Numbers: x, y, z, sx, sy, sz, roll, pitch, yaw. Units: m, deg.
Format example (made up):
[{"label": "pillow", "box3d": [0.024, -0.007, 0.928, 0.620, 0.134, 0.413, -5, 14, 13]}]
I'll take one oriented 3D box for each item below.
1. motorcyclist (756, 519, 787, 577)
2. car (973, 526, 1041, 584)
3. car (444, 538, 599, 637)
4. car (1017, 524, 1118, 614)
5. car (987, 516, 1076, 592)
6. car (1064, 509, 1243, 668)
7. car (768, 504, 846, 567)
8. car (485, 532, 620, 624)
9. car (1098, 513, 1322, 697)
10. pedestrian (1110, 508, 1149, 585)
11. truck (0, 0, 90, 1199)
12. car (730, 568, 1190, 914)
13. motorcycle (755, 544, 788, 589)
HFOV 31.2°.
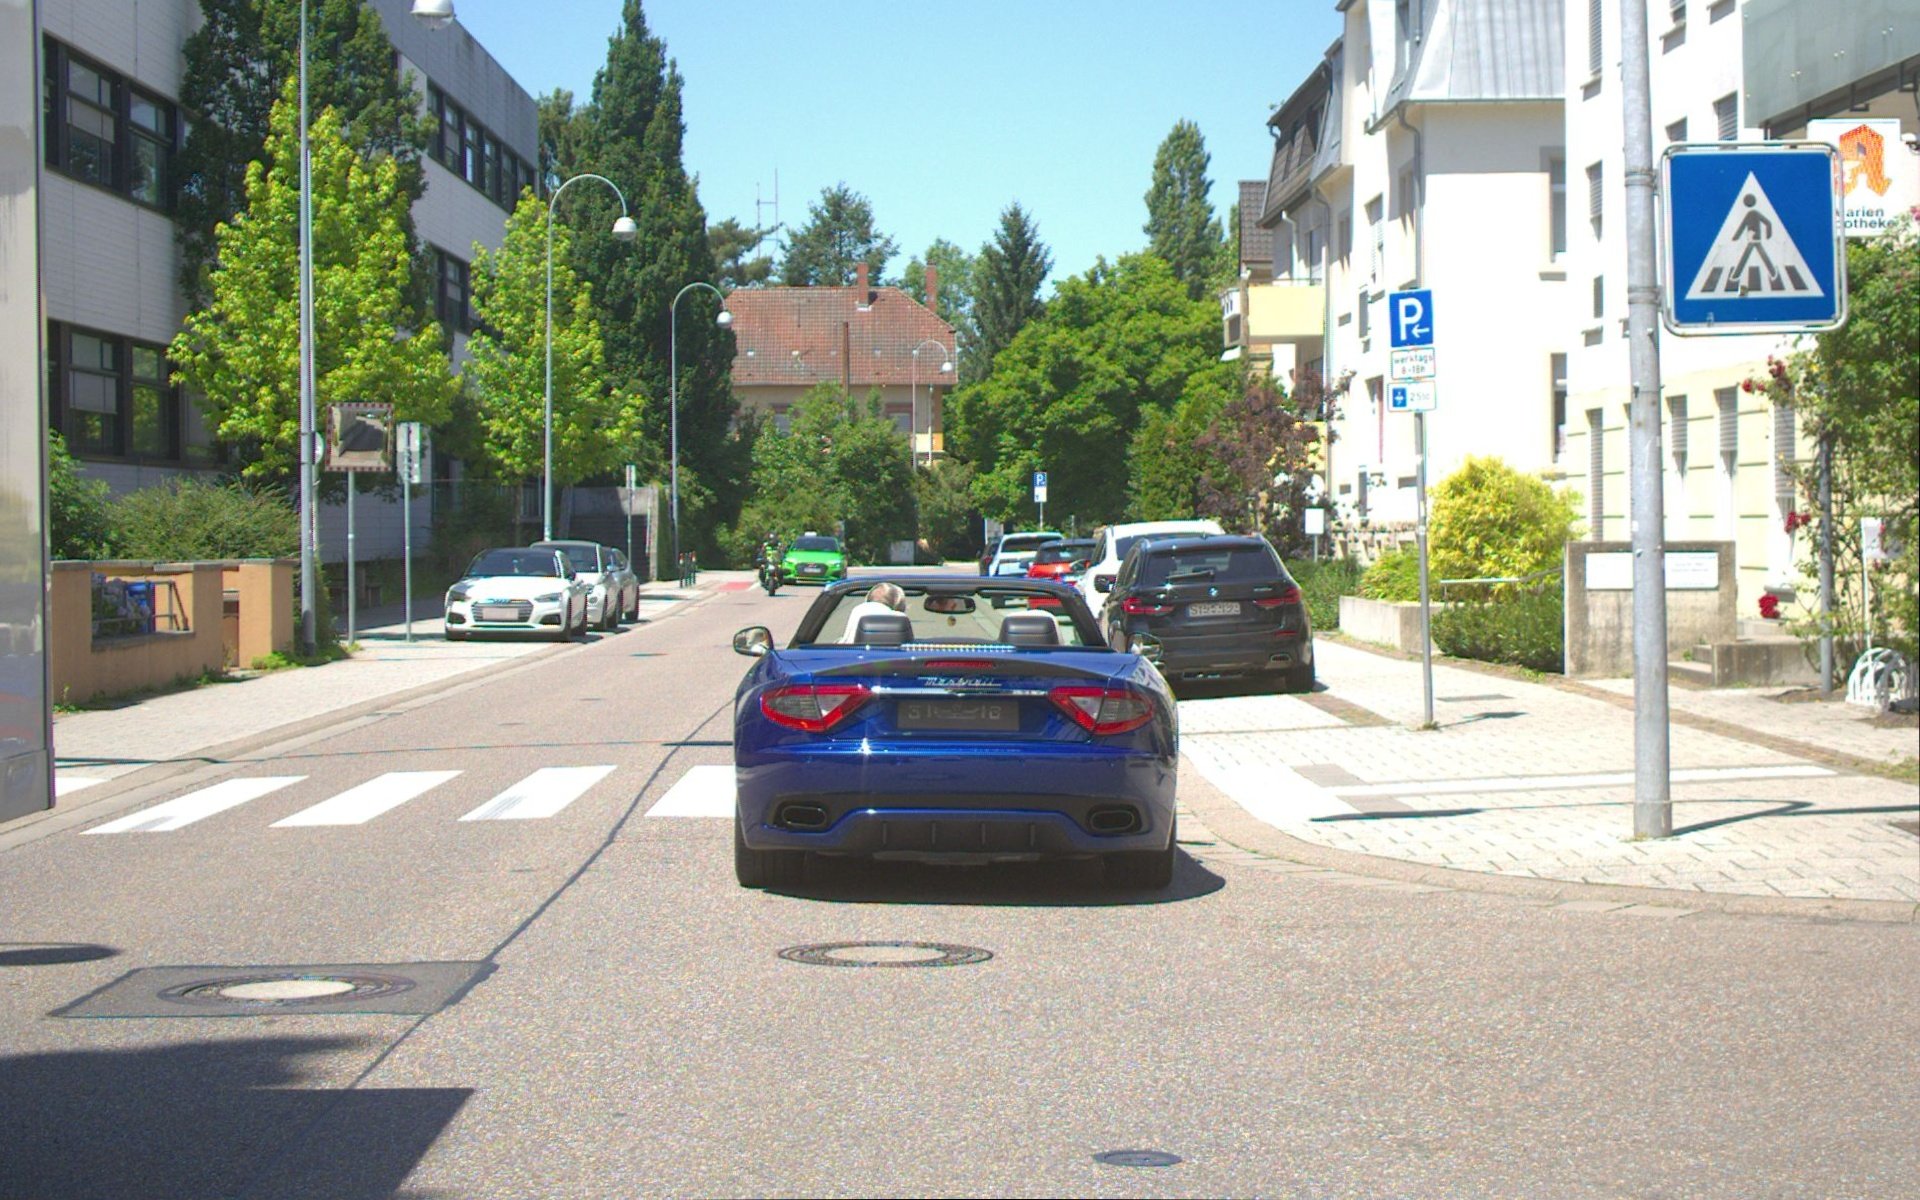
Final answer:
[{"label": "motorcyclist", "box3d": [-4.693, -1.300, 85.655, 0.699, 1.428, 0.707, -2, 1, 0]}, {"label": "car", "box3d": [1.228, -1.227, 92.104, 1.631, 1.441, 4.398, -3, 1, -1]}, {"label": "car", "box3d": [-6.715, -0.223, 53.046, 1.822, 1.406, 4.578, 1, 1, -1]}, {"label": "car", "box3d": [1.867, -0.569, 60.519, 1.603, 1.436, 3.853, -3, 1, 1]}, {"label": "car", "box3d": [1.579, -1.053, 77.483, 1.843, 1.614, 4.427, -2, 1, 0]}, {"label": "car", "box3d": [2.151, -0.175, 39.299, 1.705, 1.660, 4.580, -2, 1, 0]}, {"label": "car", "box3d": [-4.551, -1.929, 101.754, 1.822, 1.582, 4.103, 0, 5, -10]}, {"label": "car", "box3d": [-6.883, -0.401, 58.375, 1.822, 1.507, 4.290, 0, 1, -1]}, {"label": "car", "box3d": [2.321, -0.010, 32.988, 1.705, 1.551, 4.748, -3, 1, 0]}, {"label": "pedestrian", "box3d": [3.787, -1.201, 76.883, 0.740, 1.664, 0.706, -3, 1, -2]}, {"label": "truck", "box3d": [-3.275, -0.086, 5.057, 2.419, 2.973, 6.258, -1, 1, -1]}, {"label": "car", "box3d": [-0.030, 0.544, 16.079, 1.826, 1.332, 4.700, 0, 1, -1]}, {"label": "motorcycle", "box3d": [-4.689, -0.842, 85.709, 0.699, 1.103, 1.790, -2, 1, 0]}]
